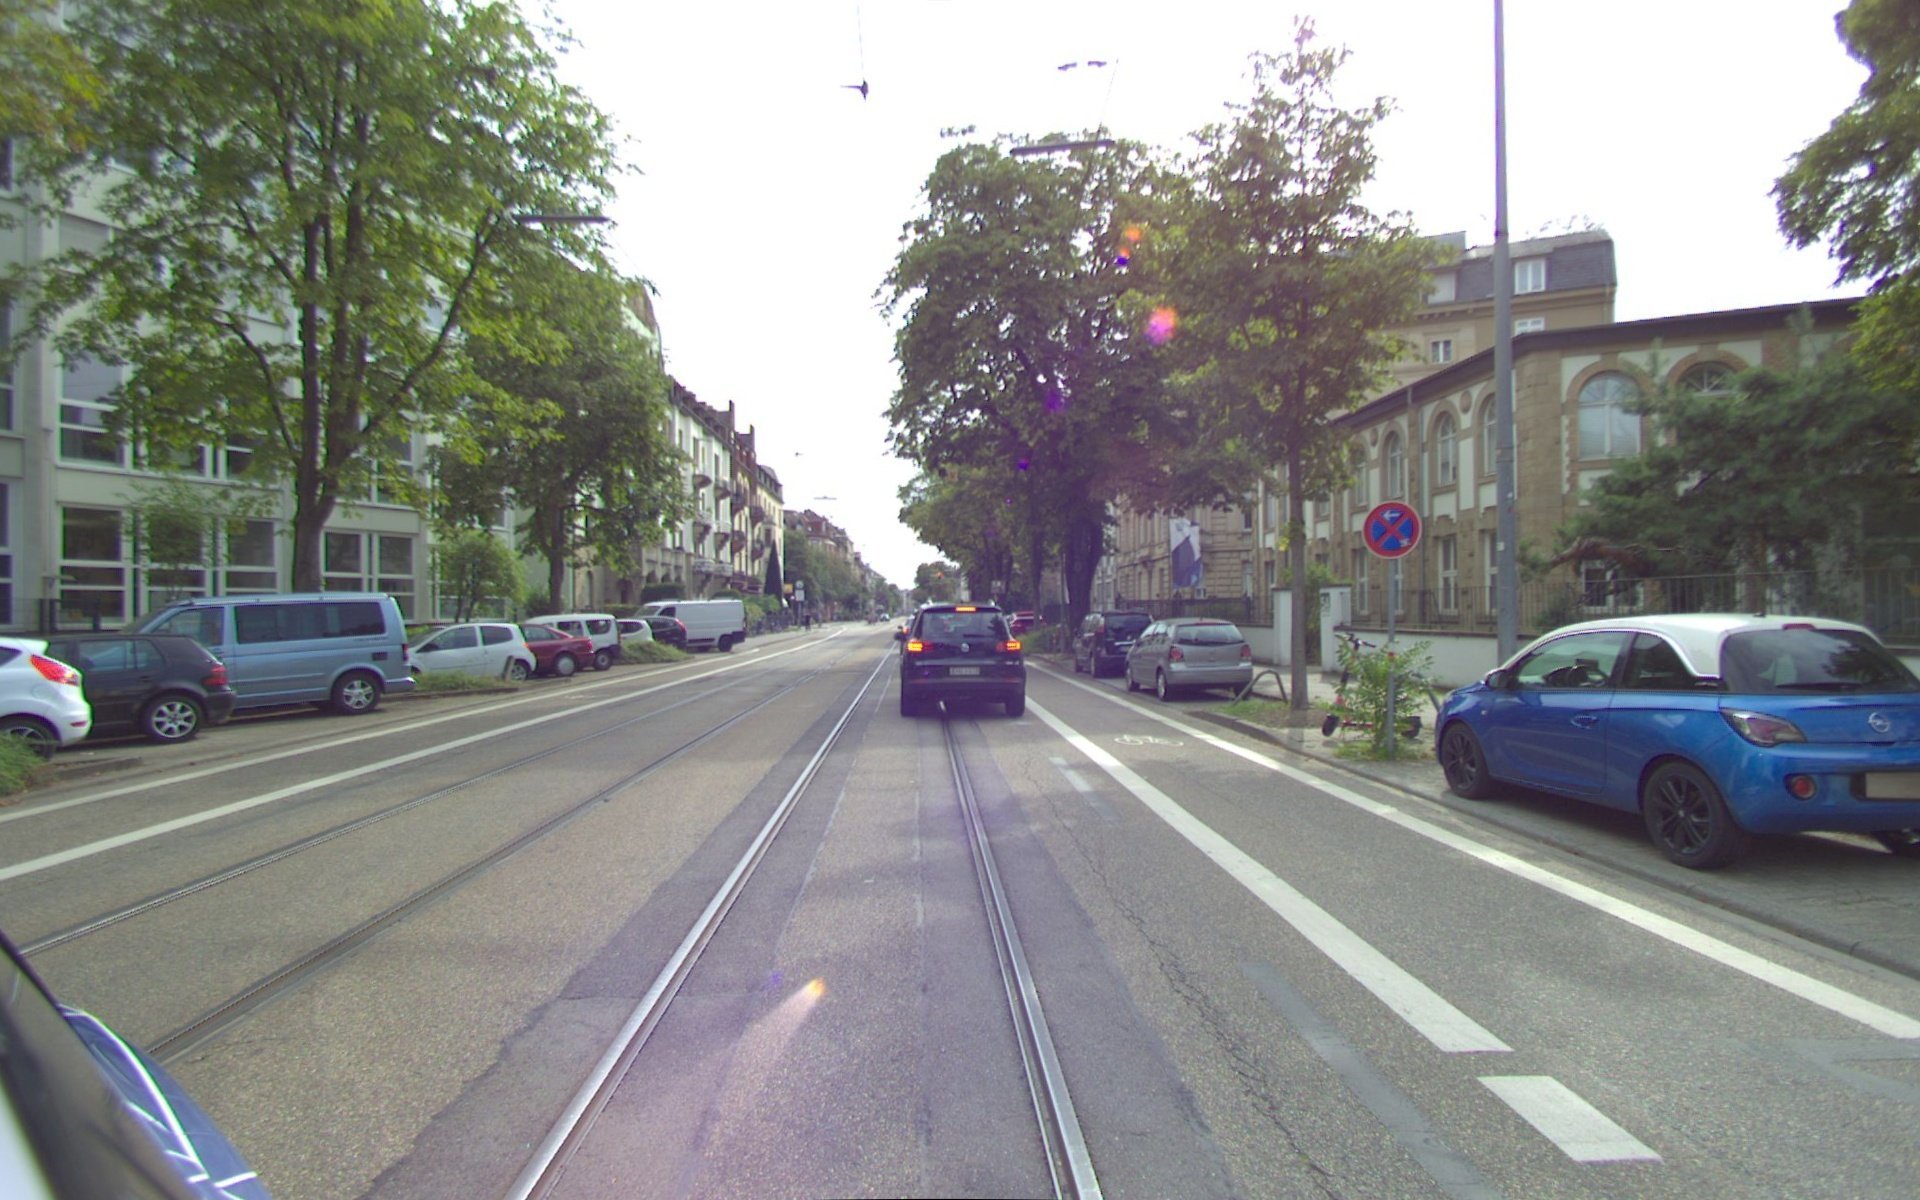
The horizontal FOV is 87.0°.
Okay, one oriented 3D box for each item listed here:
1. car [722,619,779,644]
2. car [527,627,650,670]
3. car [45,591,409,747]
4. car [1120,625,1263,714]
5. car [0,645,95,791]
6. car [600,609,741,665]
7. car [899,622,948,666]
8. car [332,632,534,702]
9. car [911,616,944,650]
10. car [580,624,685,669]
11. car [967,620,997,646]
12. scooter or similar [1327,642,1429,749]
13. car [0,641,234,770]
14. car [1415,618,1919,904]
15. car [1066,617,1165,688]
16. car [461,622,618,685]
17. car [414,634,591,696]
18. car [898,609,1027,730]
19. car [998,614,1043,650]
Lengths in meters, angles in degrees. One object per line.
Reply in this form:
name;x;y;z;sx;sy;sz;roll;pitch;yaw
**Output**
car;-14.767;2.195;71.279;3.582;1.688;1.773;0;-1;-29
car;-12.773;1.616;34.891;1.767;1.340;3.595;-1;-1;41
car;-11.264;0.964;15.799;1.999;2.079;4.287;-2;-2;41
car;4.194;1.222;18.898;1.609;1.476;3.577;-1;-1;-4
car;-10.812;1.182;9.570;1.633;1.403;3.810;-2;-2;40
car;-12.152;1.513;42.739;5.359;2.192;2.150;0;-1;-45
car;-1.404;1.581;37.333;1.712;1.508;4.381;0;-2;-3
car;-11.624;1.424;22.469;1.767;1.340;3.595;-1;-1;41
car;-1.942;1.937;59.538;1.711;1.898;4.383;-1;-1;-5
car;-12.632;1.758;39.043;3.582;1.601;1.773;0;-1;-29
car;1.444;2.181;67.482;1.635;1.646;3.909;-1;-1;-4
scooter or similar;4.809;1.099;11.680;0.998;1.176;0.366;-4;-2;21
car;-11.446;1.276;12.339;1.814;1.398;3.918;-4;-3;41
car;4.944;0.879;7.132;1.609;1.476;3.605;-1;-1;-4
car;3.827;1.270;25.484;1.635;1.646;3.728;-1;-1;-4
car;-11.820;1.446;28.569;3.714;1.630;1.816;0;-1;-45
car;-11.545;1.588;25.654;3.714;1.349;1.816;0;-1;-45
car;-0.096;0.998;15.971;1.712;1.641;4.381;1;-1;-4
car;2.832;1.496;48.222;1.635;1.646;3.909;-1;-1;-4
